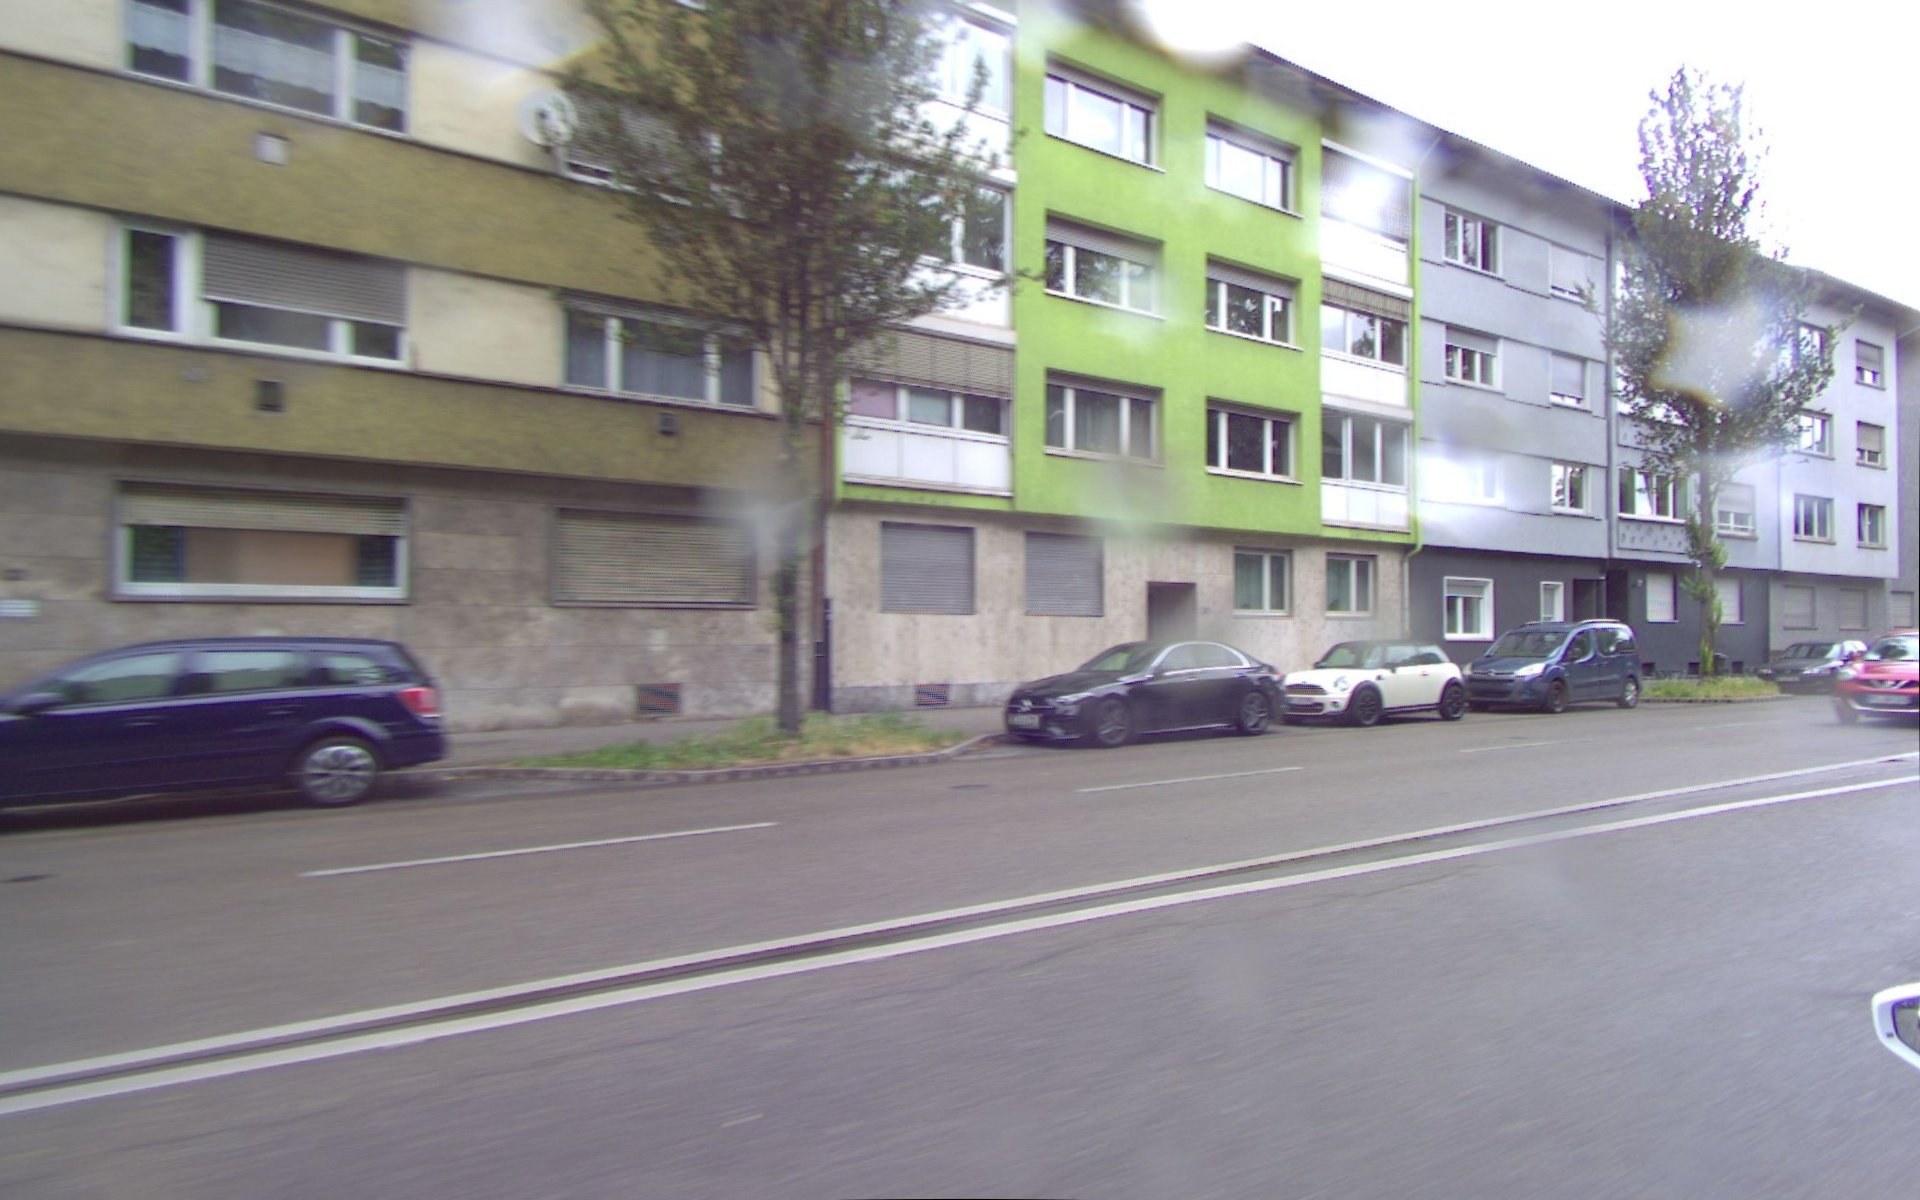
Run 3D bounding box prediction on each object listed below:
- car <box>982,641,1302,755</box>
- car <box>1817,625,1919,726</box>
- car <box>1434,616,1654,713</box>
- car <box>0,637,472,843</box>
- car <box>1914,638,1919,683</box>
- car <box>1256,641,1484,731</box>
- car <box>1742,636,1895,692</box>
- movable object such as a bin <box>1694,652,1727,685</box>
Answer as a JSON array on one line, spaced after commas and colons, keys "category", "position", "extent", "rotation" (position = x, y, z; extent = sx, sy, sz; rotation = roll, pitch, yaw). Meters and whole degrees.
[{"category": "car", "position": [2.742, 1.344, 14.704], "extent": [4.631, 1.390, 1.807], "rotation": [1, -4, -34]}, {"category": "car", "position": [15.662, 1.173, 16.233], "extent": [3.638, 1.497, 1.698], "rotation": [1, -3, -31]}, {"category": "car", "position": [12.027, 1.284, 20.631], "extent": [4.546, 1.789, 1.882], "rotation": [1, -3, -30]}, {"category": "car", "position": [-6.816, 1.125, 8.757], "extent": [4.465, 1.508, 1.709], "rotation": [1, -4, -33]}, {"category": "car", "position": [33.192, 1.918, 32.830], "extent": [4.271, 1.444, 1.705], "rotation": [1, -4, -30]}, {"category": "car", "position": [7.255, 1.456, 17.682], "extent": [3.955, 1.394, 1.672], "rotation": [1, -4, -32]}, {"category": "car", "position": [23.181, 1.713, 27.091], "extent": [4.525, 1.375, 1.681], "rotation": [1, -5, -31]}, {"category": "movable object such as a bin", "position": [19.174, 1.744, 25.660], "extent": [0.602, 0.828, 0.467], "rotation": [1, -3, -31]}]
